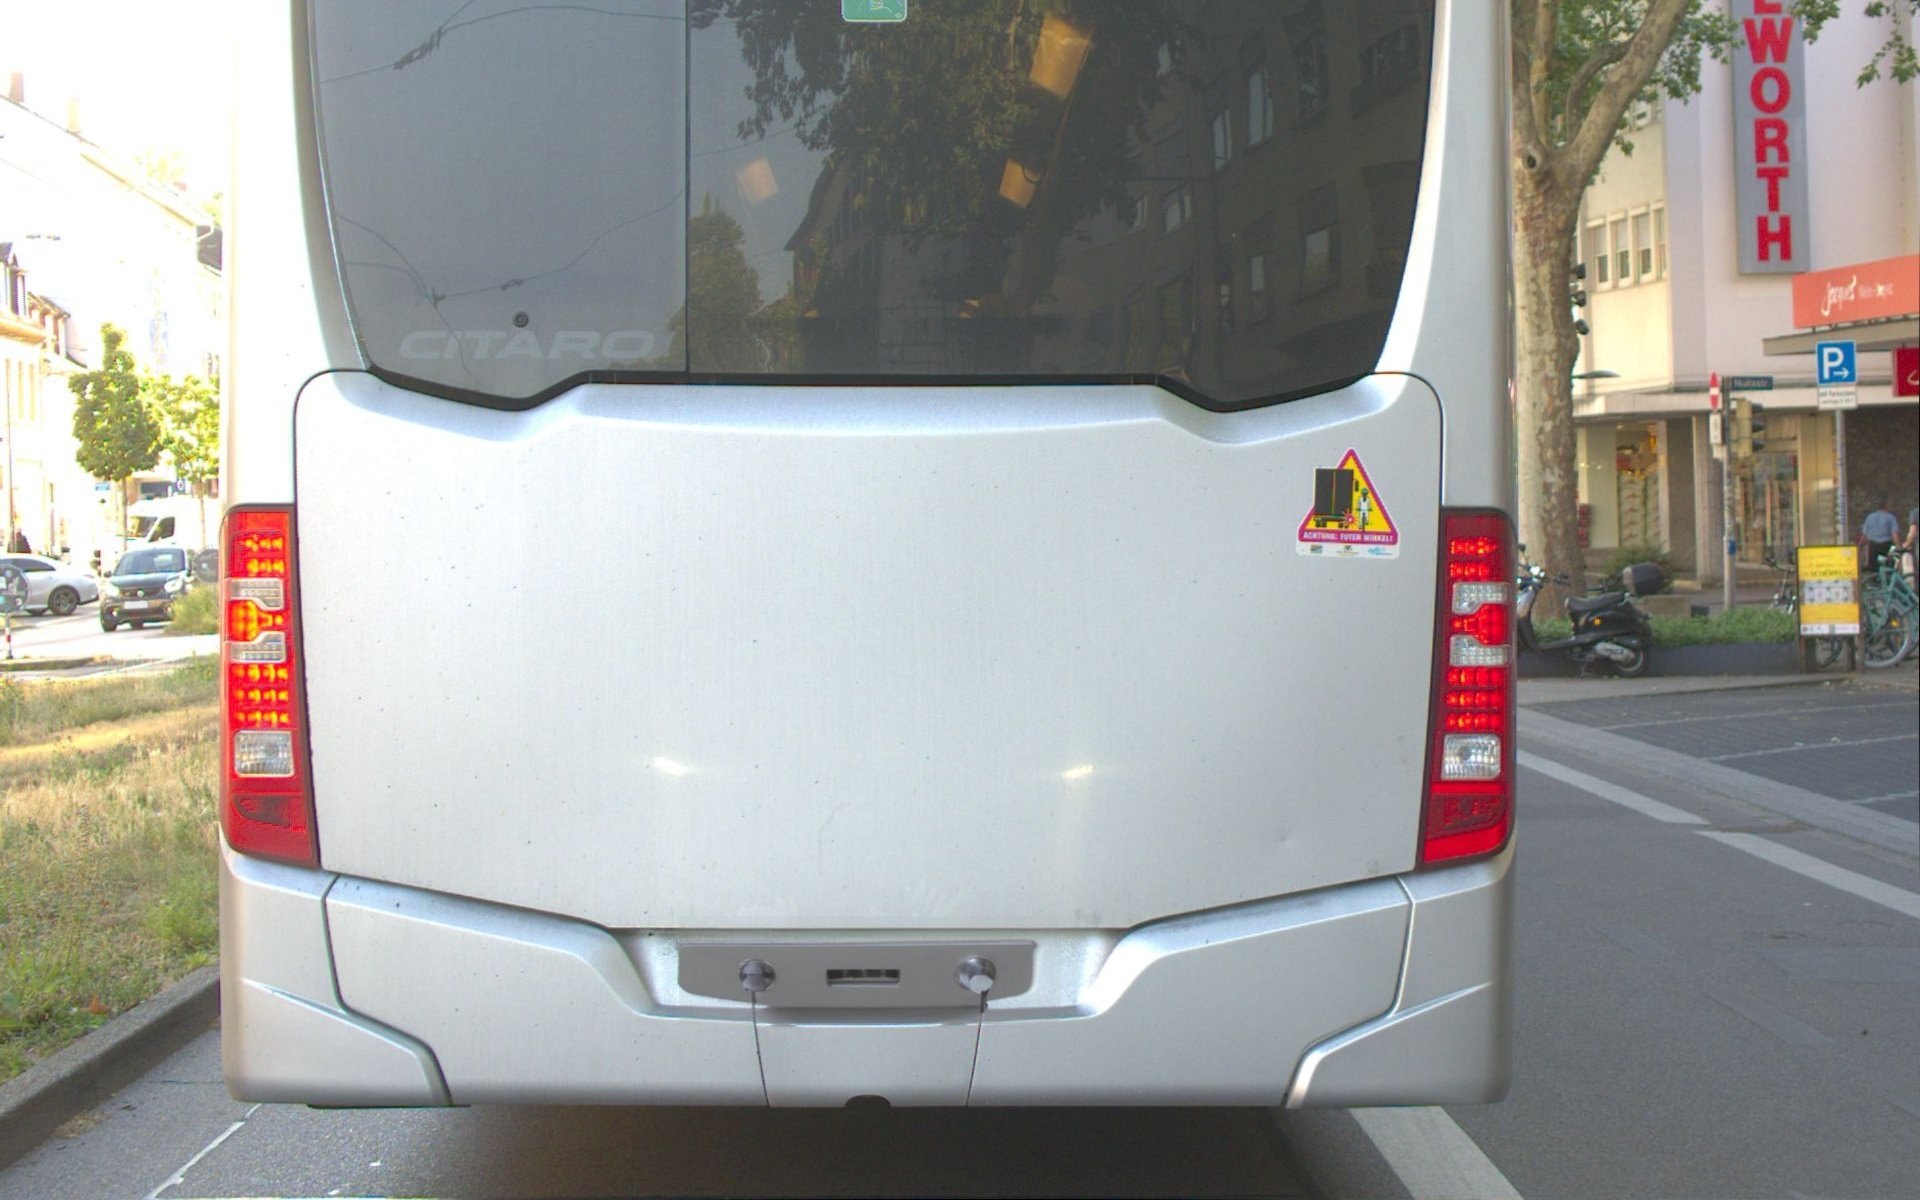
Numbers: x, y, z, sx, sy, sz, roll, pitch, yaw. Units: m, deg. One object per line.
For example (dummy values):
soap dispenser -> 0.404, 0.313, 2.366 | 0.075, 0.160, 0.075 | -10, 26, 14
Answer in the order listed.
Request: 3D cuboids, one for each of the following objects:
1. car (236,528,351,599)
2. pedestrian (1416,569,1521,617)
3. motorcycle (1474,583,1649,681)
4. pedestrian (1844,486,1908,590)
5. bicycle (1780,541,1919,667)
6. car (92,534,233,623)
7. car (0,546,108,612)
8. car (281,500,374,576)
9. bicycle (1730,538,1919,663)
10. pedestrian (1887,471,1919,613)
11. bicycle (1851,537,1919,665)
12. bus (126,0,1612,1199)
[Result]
car -> -16.011, -0.899, 82.777 | 1.780, 1.445, 4.044 | -4, 3, 2
pedestrian -> 6.537, -0.093, 44.225 | 1.254, 0.587, 0.482 | -1, 1, -2
motorcycle -> 5.838, 0.307, 33.384 | 1.570, 0.889, 0.544 | -2, 1, -3
pedestrian -> 15.062, -1.027, 56.542 | 0.747, 1.673, 0.835 | -2, 3, -6
bicycle -> 9.502, 0.028, 35.579 | 1.785, 1.185, 0.672 | -4, 1, -8
car -> -14.983, -0.420, 64.751 | 1.722, 1.504, 3.476 | -4, 1, 1
car -> -21.801, -0.437, 77.617 | 4.538, 1.407, 2.000 | -2, 2, -36
car -> -17.532, -1.736, 95.469 | 1.993, 2.007, 4.001 | -2, 1, -3
bicycle -> 9.225, 0.003, 36.590 | 1.877, 1.185, 0.711 | -4, 1, 8
pedestrian -> 12.266, -0.746, 43.573 | 0.780, 1.787, 0.764 | -2, 1, 0
bicycle -> 9.992, -0.027, 34.104 | 2.081, 1.228, 0.831 | -2, 1, 5
bus -> -0.126, -0.267, 9.776 | 2.678, 3.073, 7.114 | 0, 2, 1
